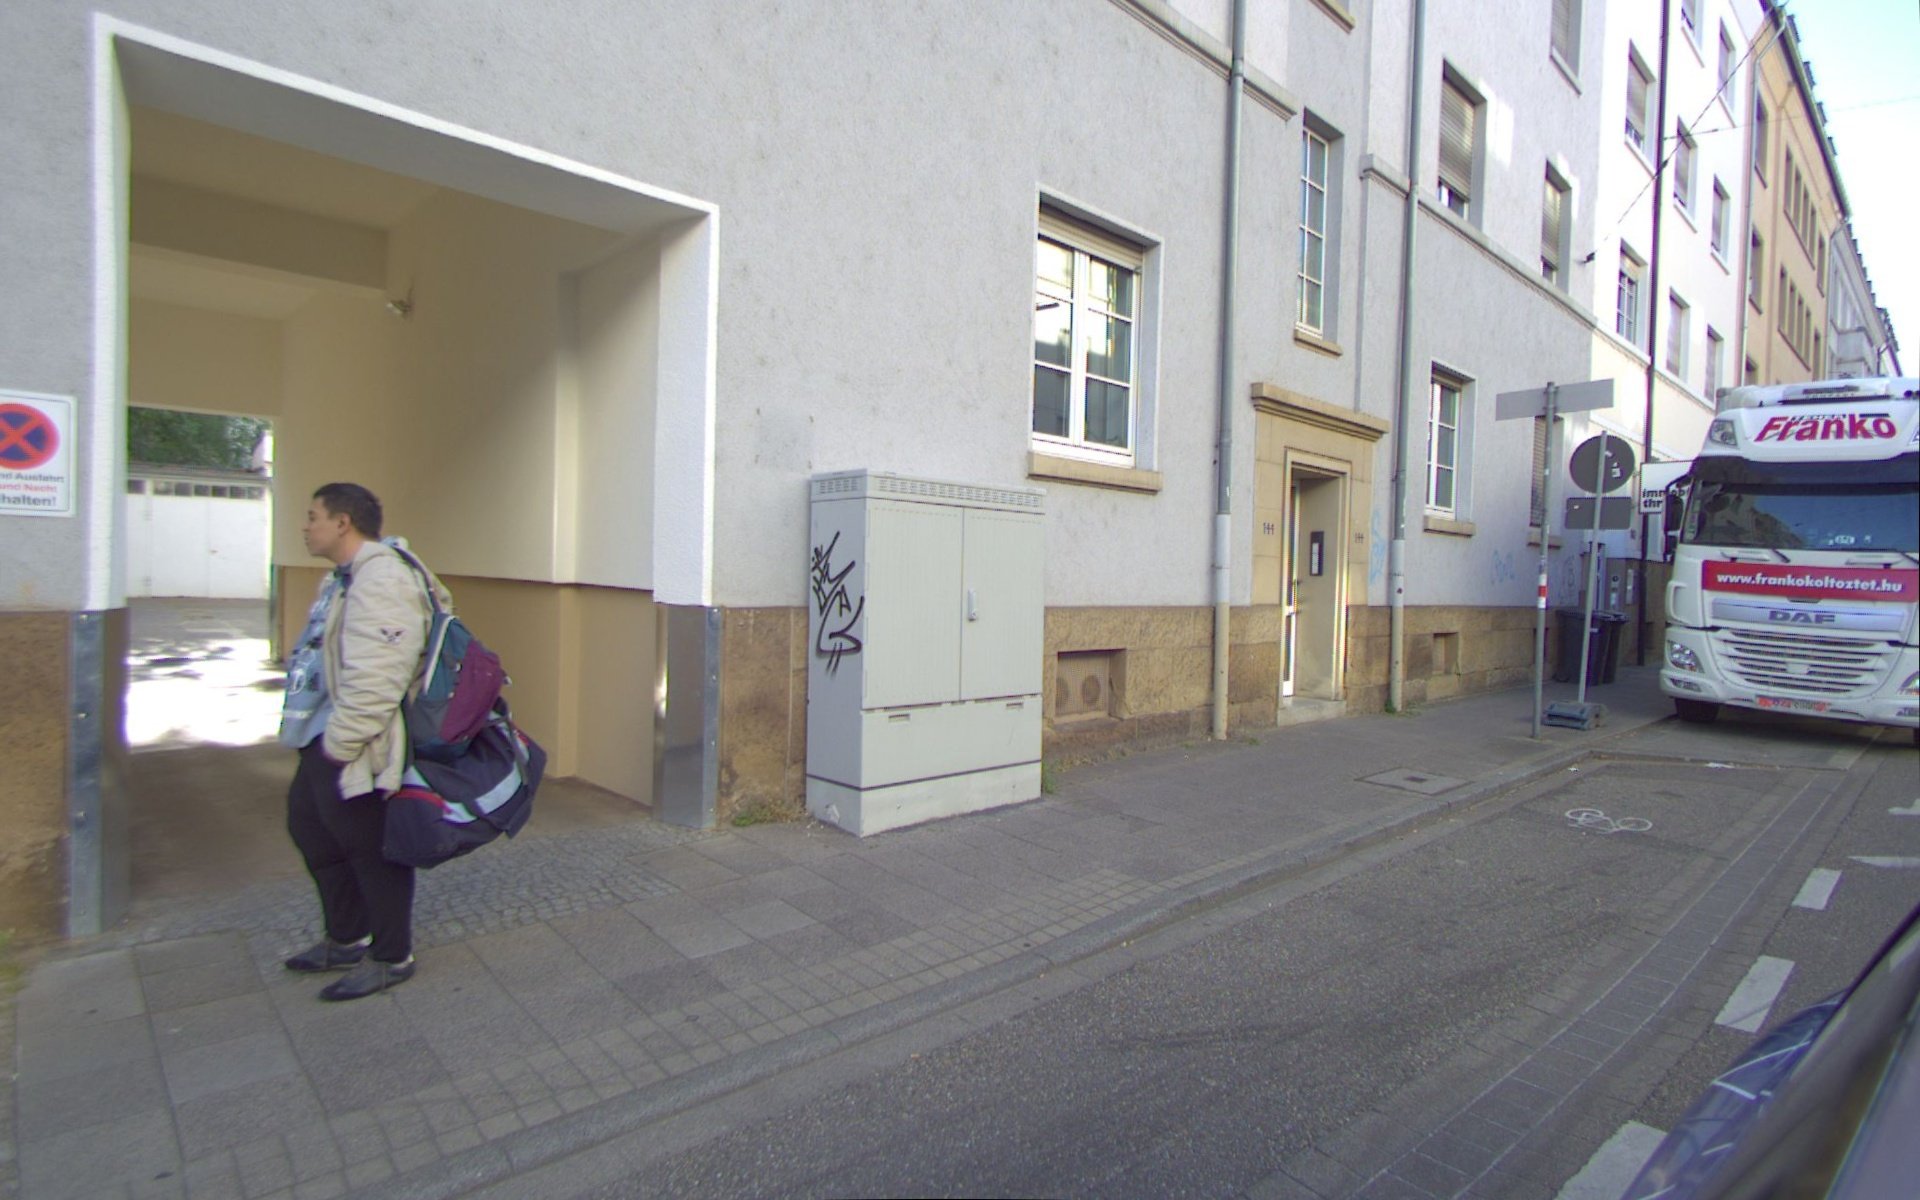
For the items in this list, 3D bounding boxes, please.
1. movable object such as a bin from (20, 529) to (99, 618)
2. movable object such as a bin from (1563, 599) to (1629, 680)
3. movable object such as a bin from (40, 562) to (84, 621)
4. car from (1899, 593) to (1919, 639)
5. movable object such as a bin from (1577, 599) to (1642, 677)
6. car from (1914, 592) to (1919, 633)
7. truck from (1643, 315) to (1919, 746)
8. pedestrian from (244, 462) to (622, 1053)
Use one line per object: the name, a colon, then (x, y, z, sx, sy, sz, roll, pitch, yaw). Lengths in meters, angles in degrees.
movable object such as a bin: (-15.153, -0.452, 17.022, 0.946, 1.426, 1.597, 0, 2, -43)
movable object such as a bin: (9.171, 0.555, 14.594, 0.560, 1.107, 0.665, 0, 2, -43)
movable object such as a bin: (-14.377, -0.145, 16.203, 0.518, 0.922, 0.580, 0, 2, -43)
car: (33.504, 0.535, 34.741, 4.080, 1.551, 1.681, 0, 0, -44)
movable object such as a bin: (9.650, 0.546, 15.045, 0.560, 1.107, 0.665, 0, 2, -43)
car: (37.674, 0.468, 38.638, 4.080, 1.551, 1.681, 0, 0, -44)
truck: (12.576, -0.675, 13.887, 11.621, 3.975, 2.778, 0, 2, -44)
pedestrian: (-1.738, 0.401, 3.319, 0.854, 1.590, 0.875, 1, 3, -43)
